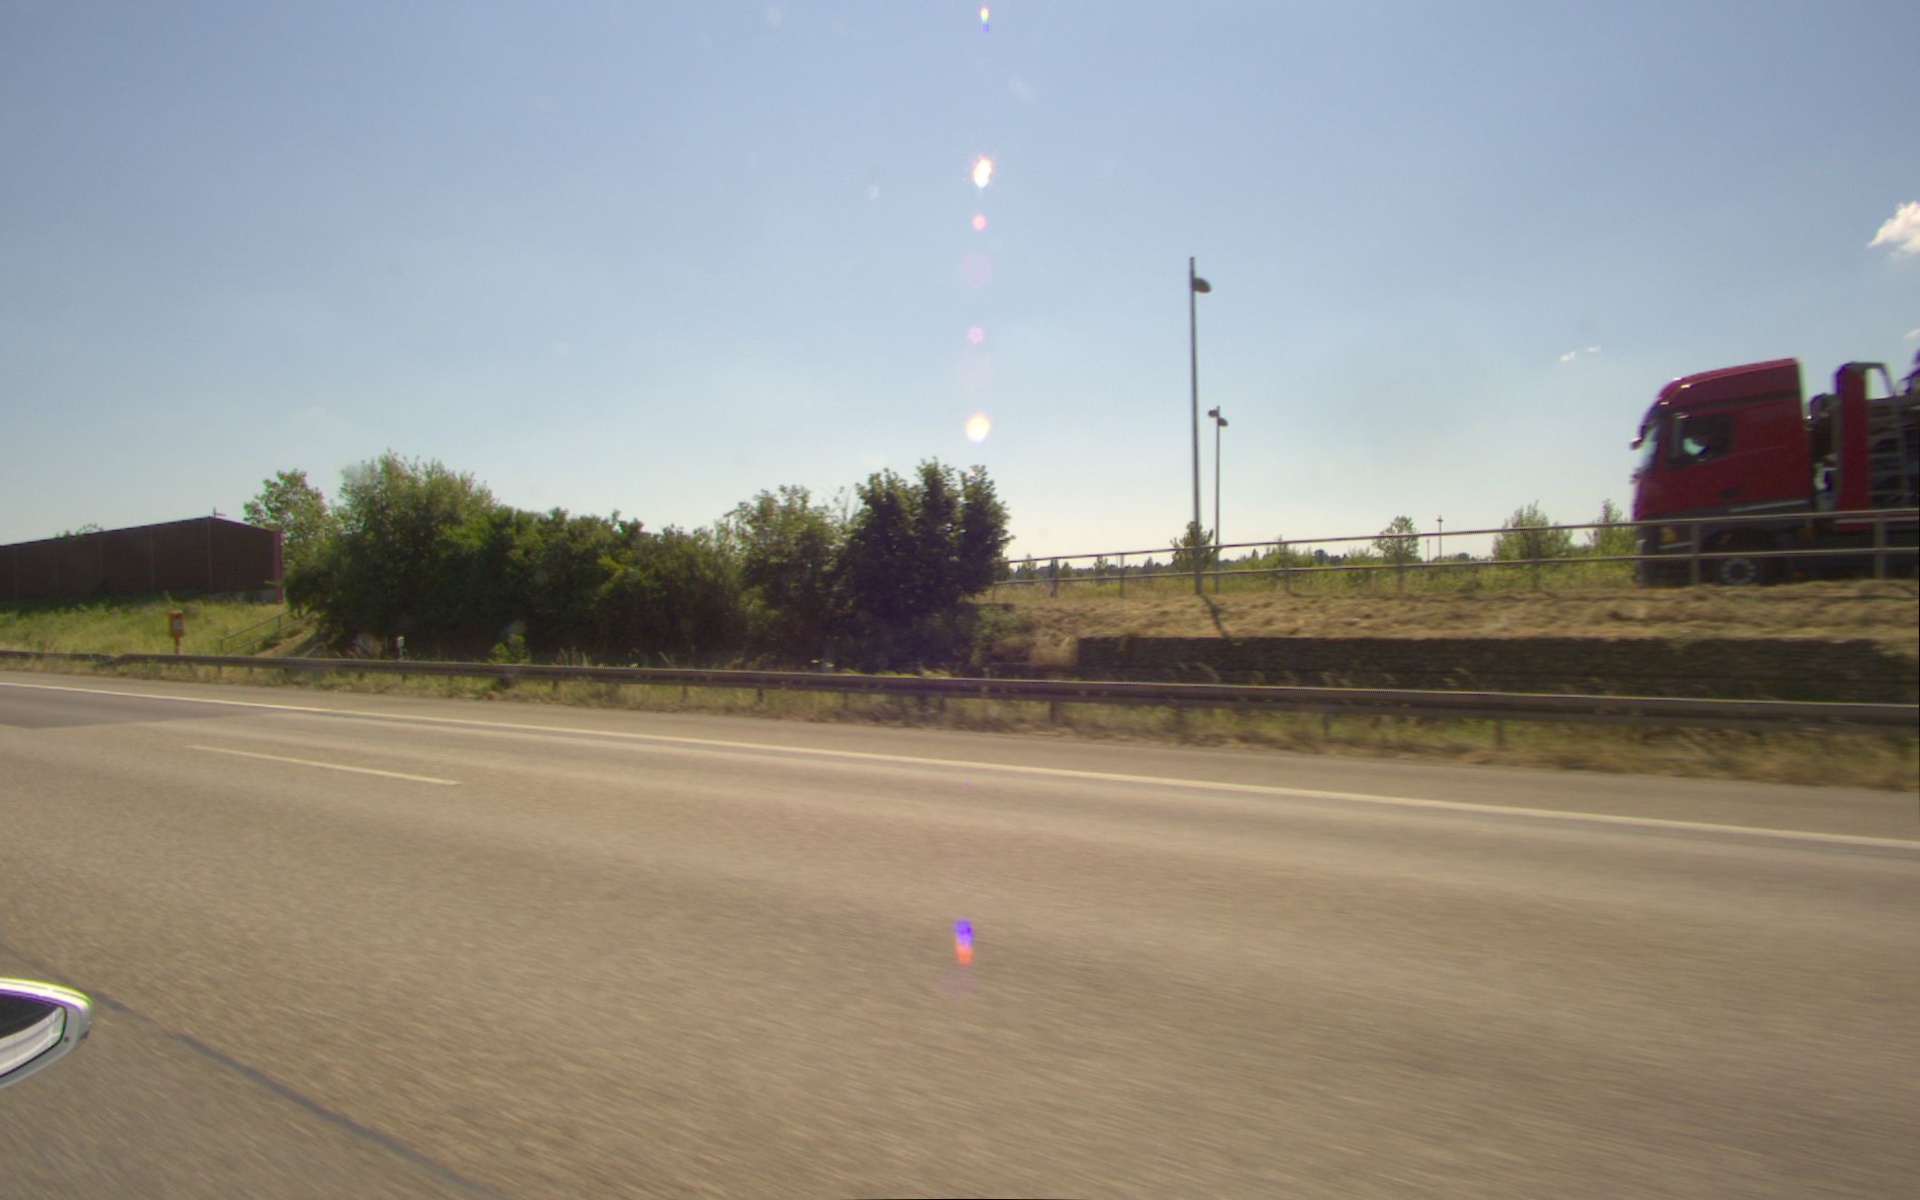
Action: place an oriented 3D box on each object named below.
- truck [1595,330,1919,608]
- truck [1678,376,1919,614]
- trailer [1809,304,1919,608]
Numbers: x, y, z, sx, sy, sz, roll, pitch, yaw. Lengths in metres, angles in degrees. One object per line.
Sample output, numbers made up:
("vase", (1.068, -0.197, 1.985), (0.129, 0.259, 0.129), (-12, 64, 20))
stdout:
("truck", (12.931, -1.880, 16.622), (3.943, 3.875, 2.598), (-1, -2, 32))
("truck", (17.880, -1.887, 19.266), (6.306, 4.134, 3.048), (-1, -2, 32))
("trailer", (21.511, -2.277, 11.097), (18.162, 4.311, 2.601), (-2, -2, 33))
